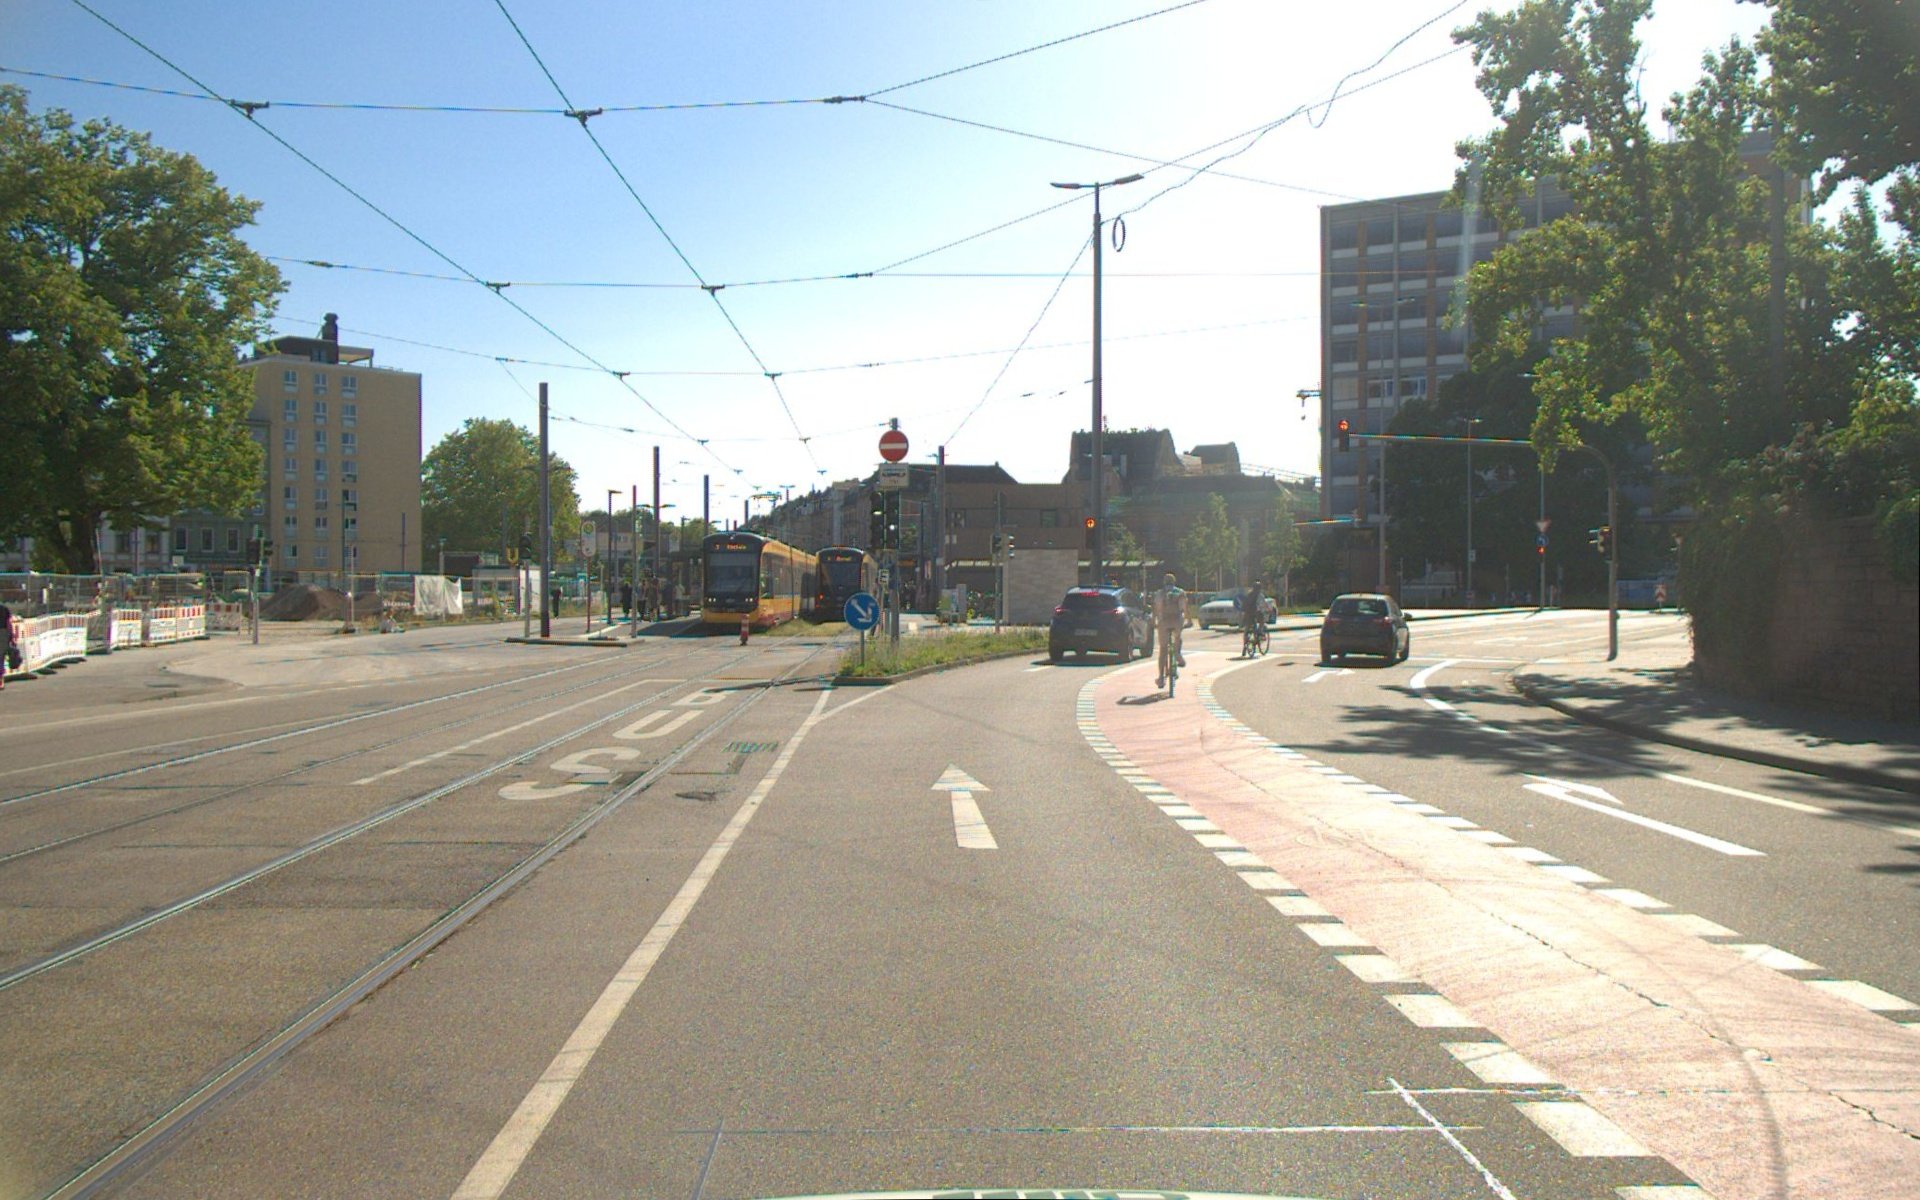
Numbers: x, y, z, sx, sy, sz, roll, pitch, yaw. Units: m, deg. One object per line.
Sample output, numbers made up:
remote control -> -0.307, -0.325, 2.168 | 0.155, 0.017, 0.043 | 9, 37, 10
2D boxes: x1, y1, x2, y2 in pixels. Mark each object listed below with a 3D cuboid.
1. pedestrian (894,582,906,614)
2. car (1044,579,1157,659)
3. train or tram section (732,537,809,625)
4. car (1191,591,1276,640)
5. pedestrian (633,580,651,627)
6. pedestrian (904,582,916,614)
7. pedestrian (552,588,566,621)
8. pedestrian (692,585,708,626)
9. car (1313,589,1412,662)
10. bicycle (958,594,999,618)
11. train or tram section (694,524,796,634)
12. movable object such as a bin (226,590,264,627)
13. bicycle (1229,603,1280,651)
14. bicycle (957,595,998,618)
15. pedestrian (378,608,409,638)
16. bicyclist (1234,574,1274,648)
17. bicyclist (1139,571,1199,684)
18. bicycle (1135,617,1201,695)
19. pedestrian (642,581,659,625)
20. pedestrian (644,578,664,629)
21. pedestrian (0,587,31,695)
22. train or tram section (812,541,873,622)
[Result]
pedestrian -> -3.683, -0.121, 101.818 | 0.649, 1.987, 0.626 | 0, 0, -14
car -> 3.165, 0.391, 36.645 | 1.751, 1.632, 3.715 | 1, 0, 16
train or tram section -> -8.562, -0.852, 75.982 | 2.687, 3.715, 12.537 | 0, 0, -3
car -> 9.812, 0.533, 59.123 | 1.671, 1.672, 3.702 | 1, 0, 33
pedestrian -> -12.478, 0.143, 64.990 | 0.614, 1.859, 0.662 | 0, 0, -3
pedestrian -> -3.156, -0.109, 103.832 | 0.649, 1.987, 0.626 | 0, 0, -14
pedestrian -> -21.131, 0.213, 87.151 | 0.614, 1.727, 0.662 | 0, 0, -3
pedestrian -> -11.744, 0.261, 74.694 | 0.614, 1.859, 0.662 | 0, 0, -3
car -> 9.298, 0.552, 38.038 | 1.752, 1.537, 3.713 | 1, 0, 21
bicycle -> 0.877, 0.300, 78.506 | 1.896, 1.122, 0.598 | 0, 0, -5
train or tram section -> -7.962, -0.767, 62.868 | 2.687, 3.715, 13.778 | 0, 0, -3
movable object such as a bin -> -40.008, 0.462, 92.537 | 1.893, 2.049, 3.969 | 0, 0, -24
bicycle -> 7.056, 0.635, 39.519 | 0.690, 1.073, 2.313 | 2, 1, 22
bicycle -> 0.828, 0.303, 79.274 | 1.896, 1.122, 0.598 | 0, 0, -5
pedestrian -> -20.582, 0.832, 60.114 | 0.879, 1.065, 0.655 | 0, 0, -2
bicyclist -> 6.999, 0.252, 39.354 | 0.690, 1.730, 0.987 | 2, 1, 22
bicyclist -> 3.268, 0.421, 25.800 | 0.690, 1.704, 1.102 | 2, 0, 17
bicycle -> 3.258, 0.849, 25.802 | 0.690, 1.124, 1.718 | 2, 0, 17
pedestrian -> -13.144, 0.128, 70.256 | 0.614, 1.859, 0.662 | 0, 0, -3
pedestrian -> -11.108, 0.131, 60.013 | 0.614, 1.859, 0.662 | 0, 0, -3
pedestrian -> -15.548, 0.656, 26.899 | 0.608, 1.726, 0.676 | 0, 0, -15
train or tram section -> -5.766, -0.894, 82.853 | 2.687, 3.715, 13.778 | 0, 0, -3
